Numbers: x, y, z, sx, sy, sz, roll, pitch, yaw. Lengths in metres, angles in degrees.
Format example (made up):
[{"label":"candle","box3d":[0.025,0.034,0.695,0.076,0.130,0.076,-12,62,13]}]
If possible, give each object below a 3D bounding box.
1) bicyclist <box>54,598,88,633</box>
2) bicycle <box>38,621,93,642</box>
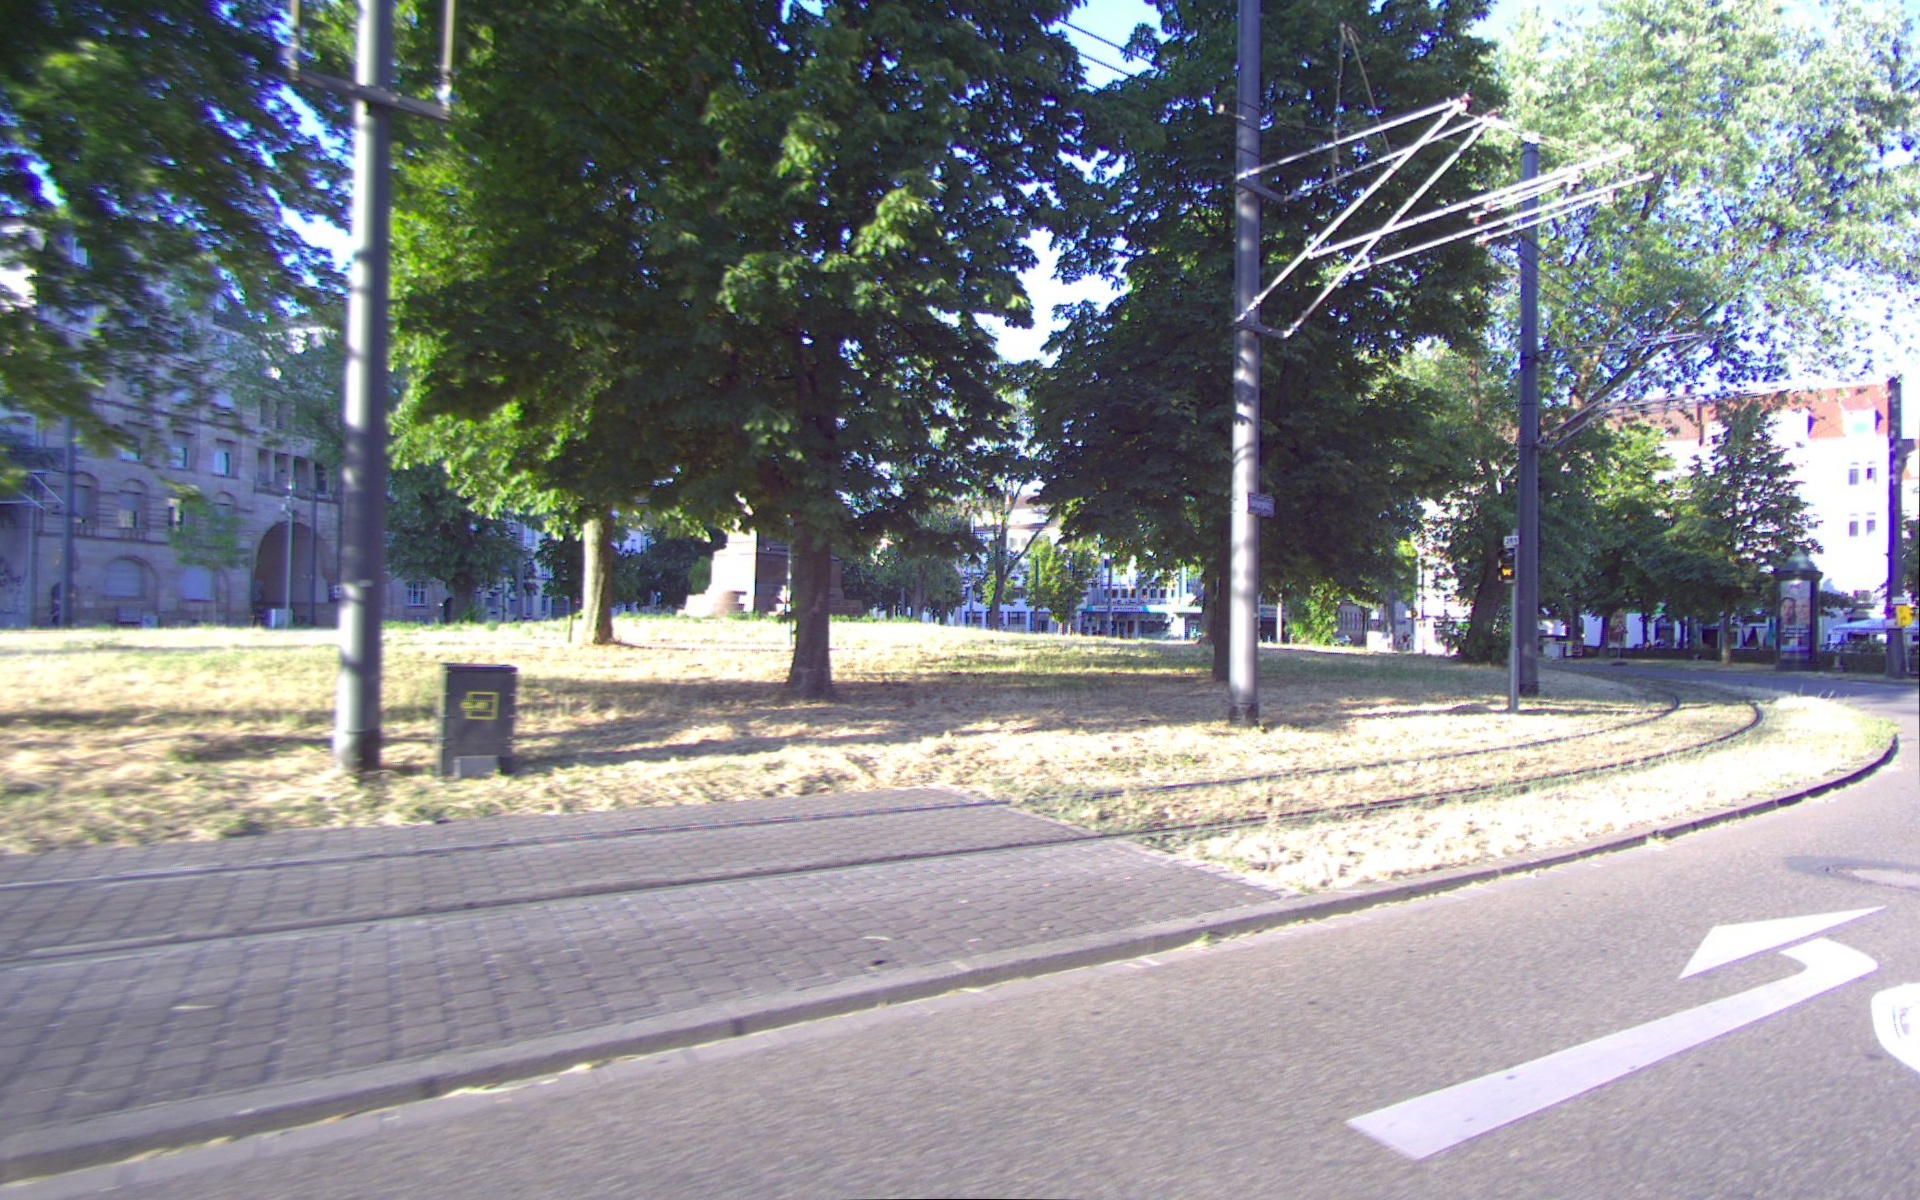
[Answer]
[{"label":"bicyclist","box3d":[-45.539,0.792,51.459,0.934,1.713,0.898,2,0,14]},{"label":"bicycle","box3d":[-45.622,1.587,51.236,0.463,1.024,2.203,2,-1,13]}]
